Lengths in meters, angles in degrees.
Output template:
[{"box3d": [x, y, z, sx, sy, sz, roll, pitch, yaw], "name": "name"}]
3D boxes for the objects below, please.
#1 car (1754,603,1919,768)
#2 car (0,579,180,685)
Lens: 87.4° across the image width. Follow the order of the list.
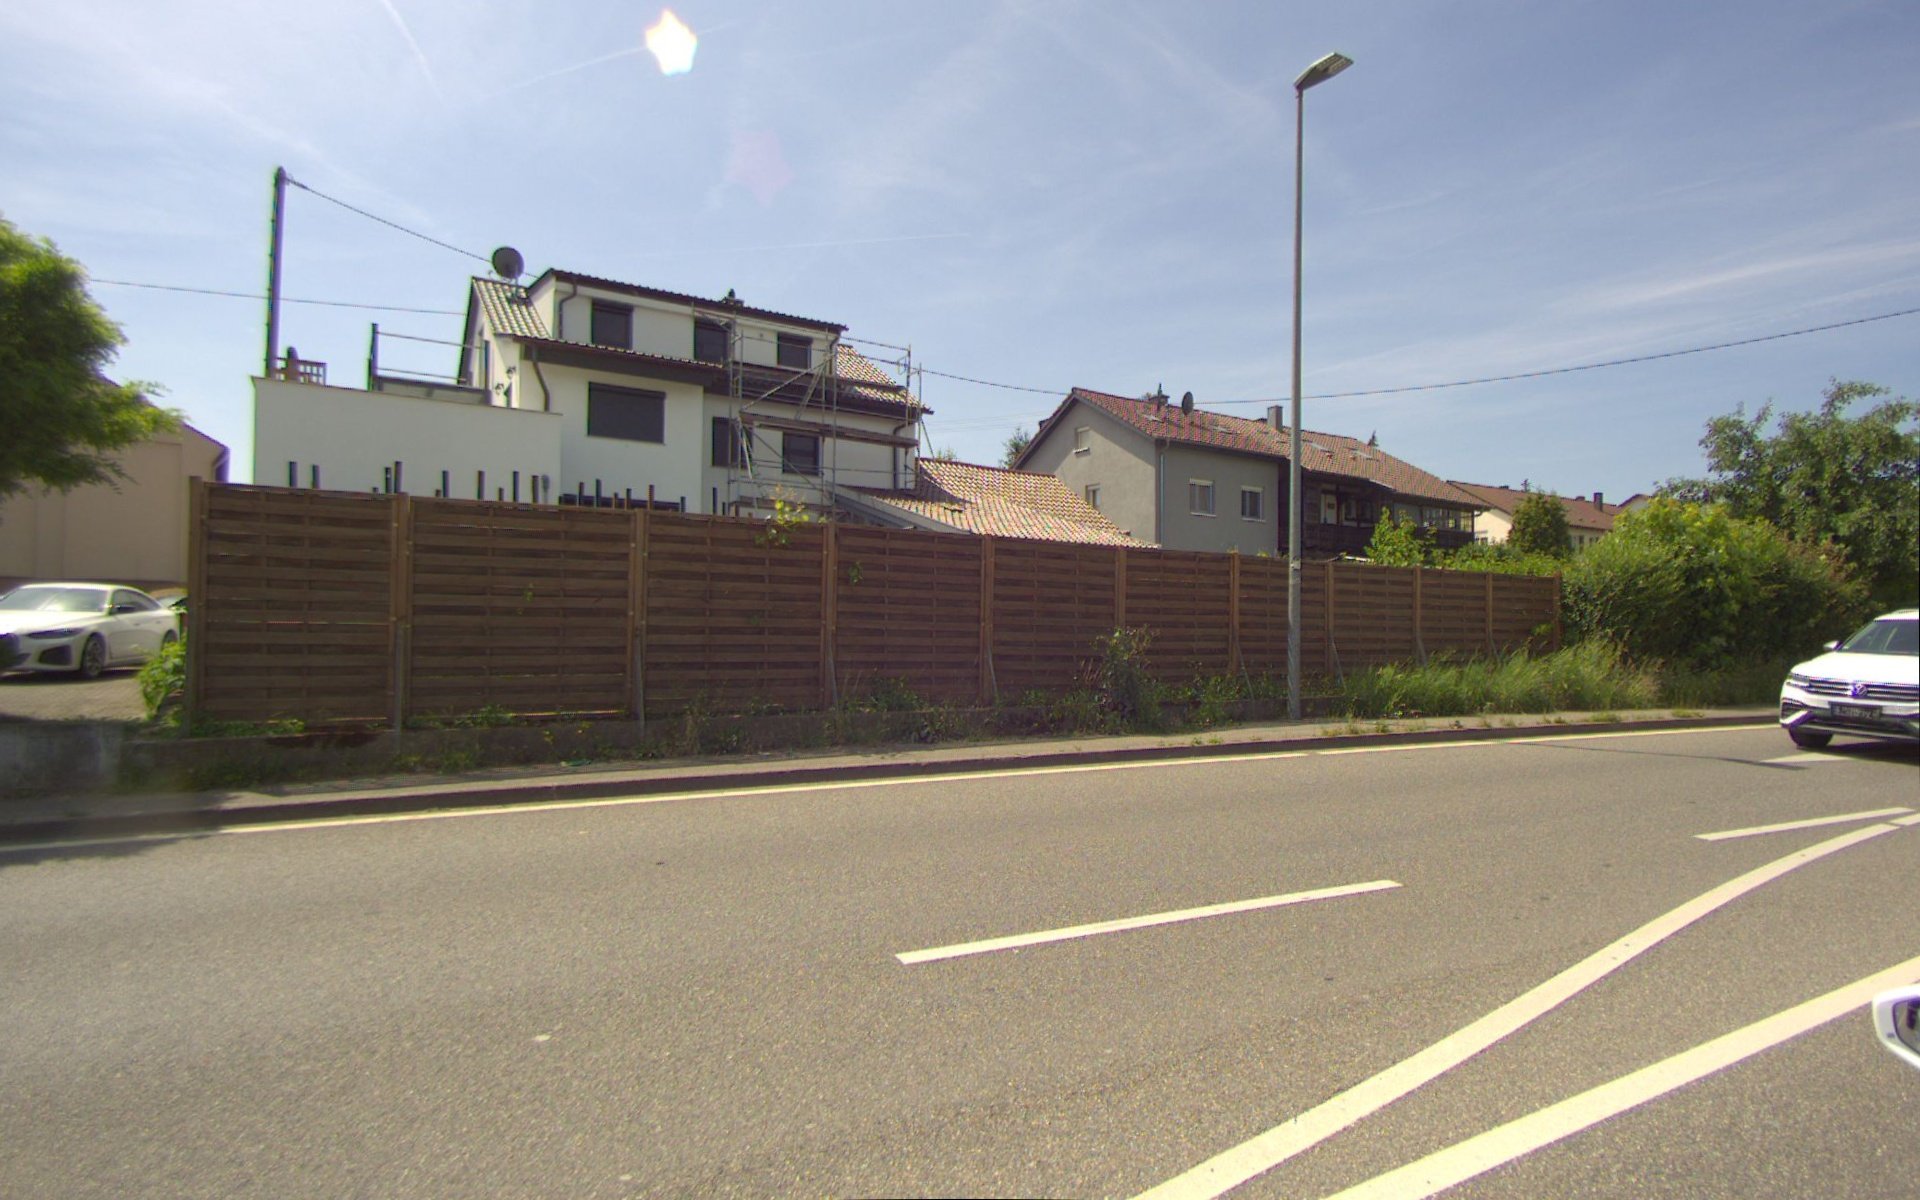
[{"box3d": [11.642, 0.925, 11.896, 4.346, 1.677, 1.839, 1, 0, -27], "name": "car"}, {"box3d": [-14.184, 0.460, 15.760, 1.854, 1.459, 3.983, 2, -1, -19], "name": "car"}]
